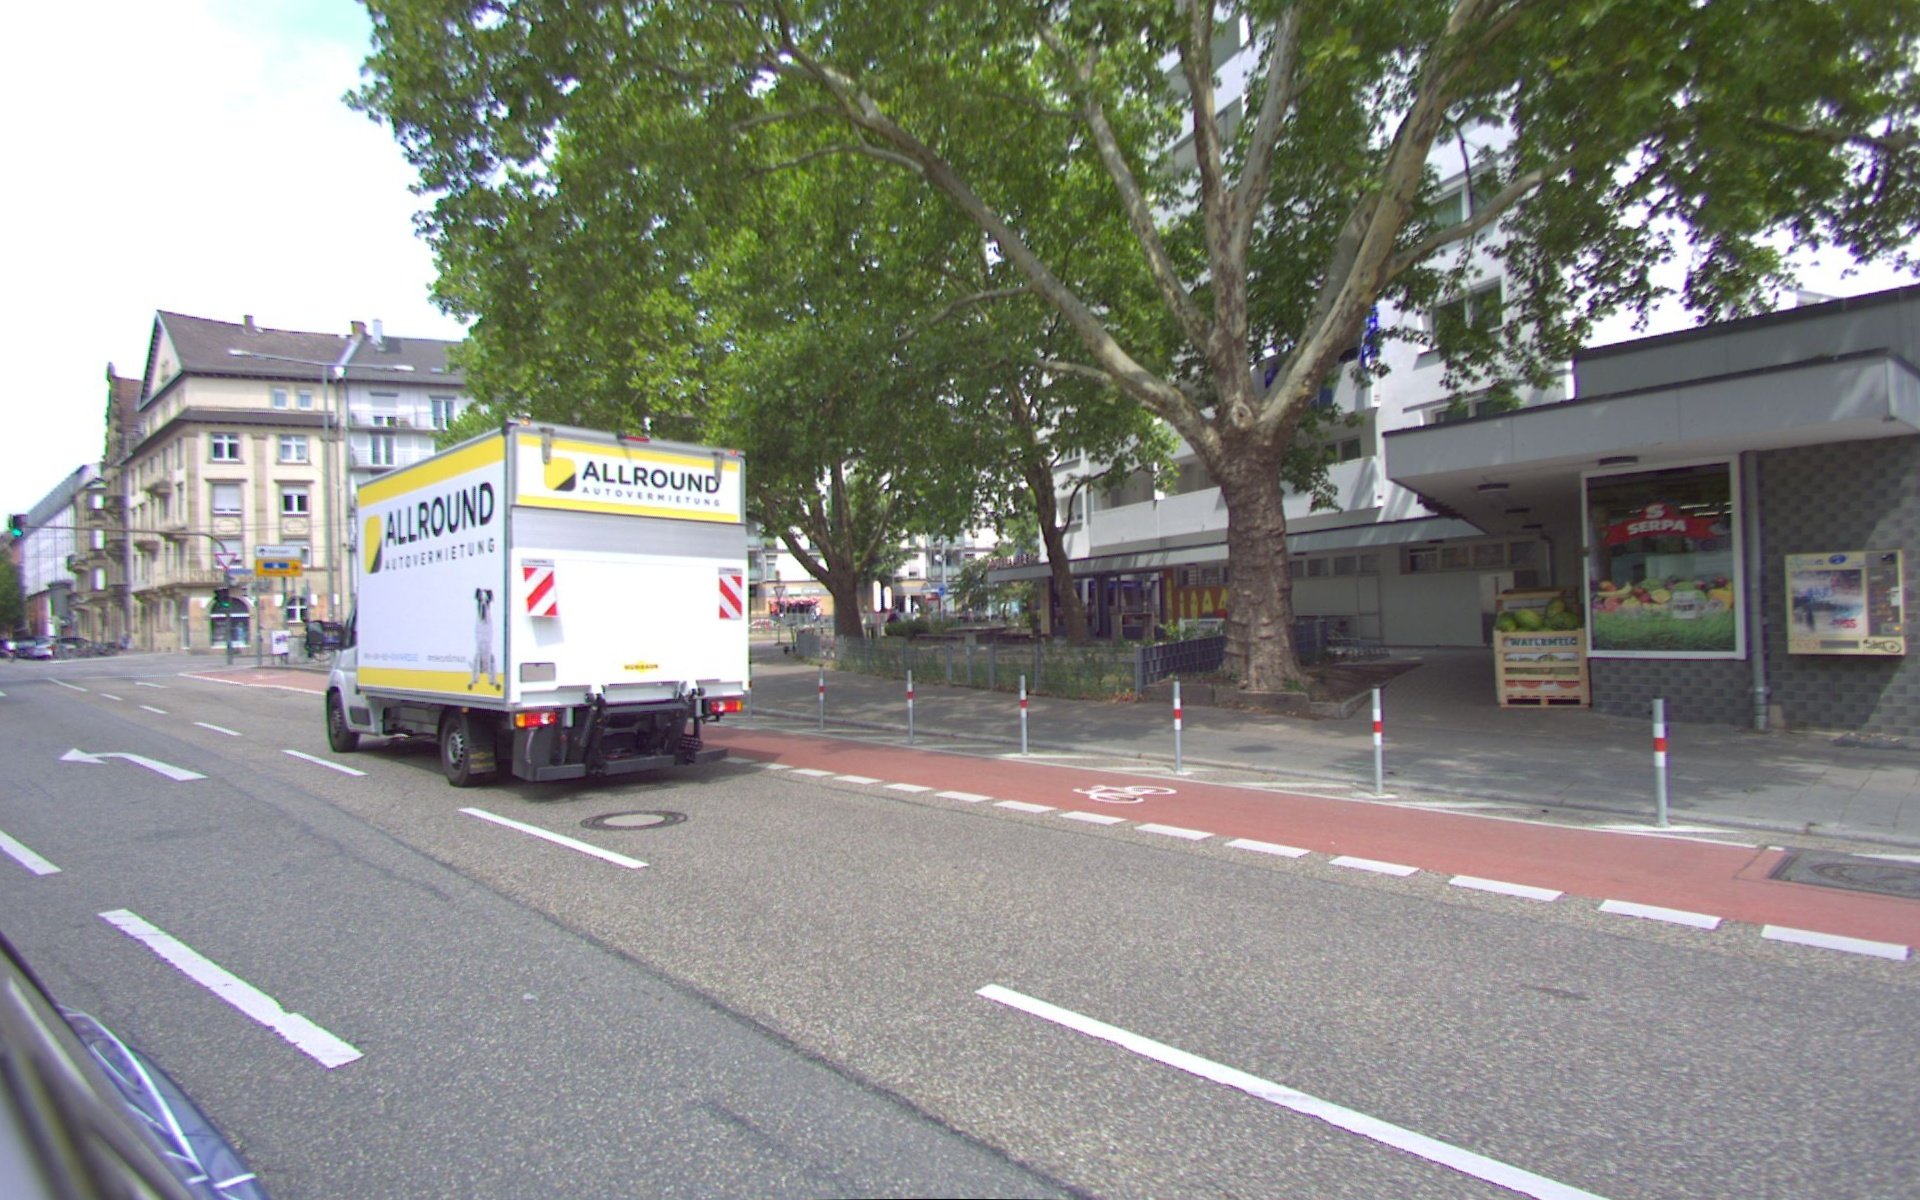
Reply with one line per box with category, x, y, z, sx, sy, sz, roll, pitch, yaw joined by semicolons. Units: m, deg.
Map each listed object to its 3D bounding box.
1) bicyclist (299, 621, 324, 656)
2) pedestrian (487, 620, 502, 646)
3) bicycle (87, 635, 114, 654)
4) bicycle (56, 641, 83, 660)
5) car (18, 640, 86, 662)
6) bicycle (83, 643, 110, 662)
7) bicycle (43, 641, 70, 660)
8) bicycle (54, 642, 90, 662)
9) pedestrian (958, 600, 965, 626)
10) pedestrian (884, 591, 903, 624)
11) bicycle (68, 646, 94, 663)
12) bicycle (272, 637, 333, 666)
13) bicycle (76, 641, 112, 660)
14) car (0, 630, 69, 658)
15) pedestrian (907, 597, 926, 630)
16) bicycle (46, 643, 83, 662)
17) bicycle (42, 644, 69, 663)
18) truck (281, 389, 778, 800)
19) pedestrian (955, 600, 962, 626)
bicyclist;-25.754;1.543;40.201;0.739;1.352;0.493;-2;-2;-25
pedestrian;-28.921;2.070;62.925;0.824;1.564;0.870;-1;-1;-24
bicycle;-61.187;3.183;72.050;0.397;1.201;1.330;-3;1;36
bicycle;-62.607;3.555;71.173;0.397;1.201;1.328;-3;0;39
car;-71.000;3.970;79.201;1.736;1.547;3.824;-2;-1;4
bicycle;-61.708;3.767;72.300;0.397;1.201;1.330;-3;1;36
bicycle;-64.013;3.581;71.736;0.397;1.201;1.328;-4;1;41
bicycle;-62.099;3.636;70.781;0.397;1.201;1.799;-3;2;39
pedestrian;0.115;0.978;75.726;0.307;1.969;0.326;-1;-2;-33
pedestrian;-3.350;0.394;51.124;0.673;1.648;0.698;-1;-2;-26
bicycle;-62.917;3.898;72.458;0.397;1.201;1.328;-4;-2;41
bicycle;-26.014;2.032;40.086;1.936;1.103;0.629;1;-3;-25
bicycle;-60.967;3.547;71.271;0.397;1.201;1.807;-4;0;42
car;-66.726;3.146;72.640;1.737;1.601;4.032;-5;1;4
pedestrian;-2.776;0.870;64.694;0.858;2.029;0.855;-2;-2;-24
bicycle;-61.576;3.634;69.610;1.844;1.201;0.457;-2;-1;-28
bicycle;-63.584;3.724;71.138;0.397;1.201;1.330;-3;1;36
truck;-5.077;0.075;11.080;7.023;3.131;2.512;-2;-3;44
pedestrian;-0.097;0.988;76.114;0.307;1.969;0.326;-1;-2;-33
